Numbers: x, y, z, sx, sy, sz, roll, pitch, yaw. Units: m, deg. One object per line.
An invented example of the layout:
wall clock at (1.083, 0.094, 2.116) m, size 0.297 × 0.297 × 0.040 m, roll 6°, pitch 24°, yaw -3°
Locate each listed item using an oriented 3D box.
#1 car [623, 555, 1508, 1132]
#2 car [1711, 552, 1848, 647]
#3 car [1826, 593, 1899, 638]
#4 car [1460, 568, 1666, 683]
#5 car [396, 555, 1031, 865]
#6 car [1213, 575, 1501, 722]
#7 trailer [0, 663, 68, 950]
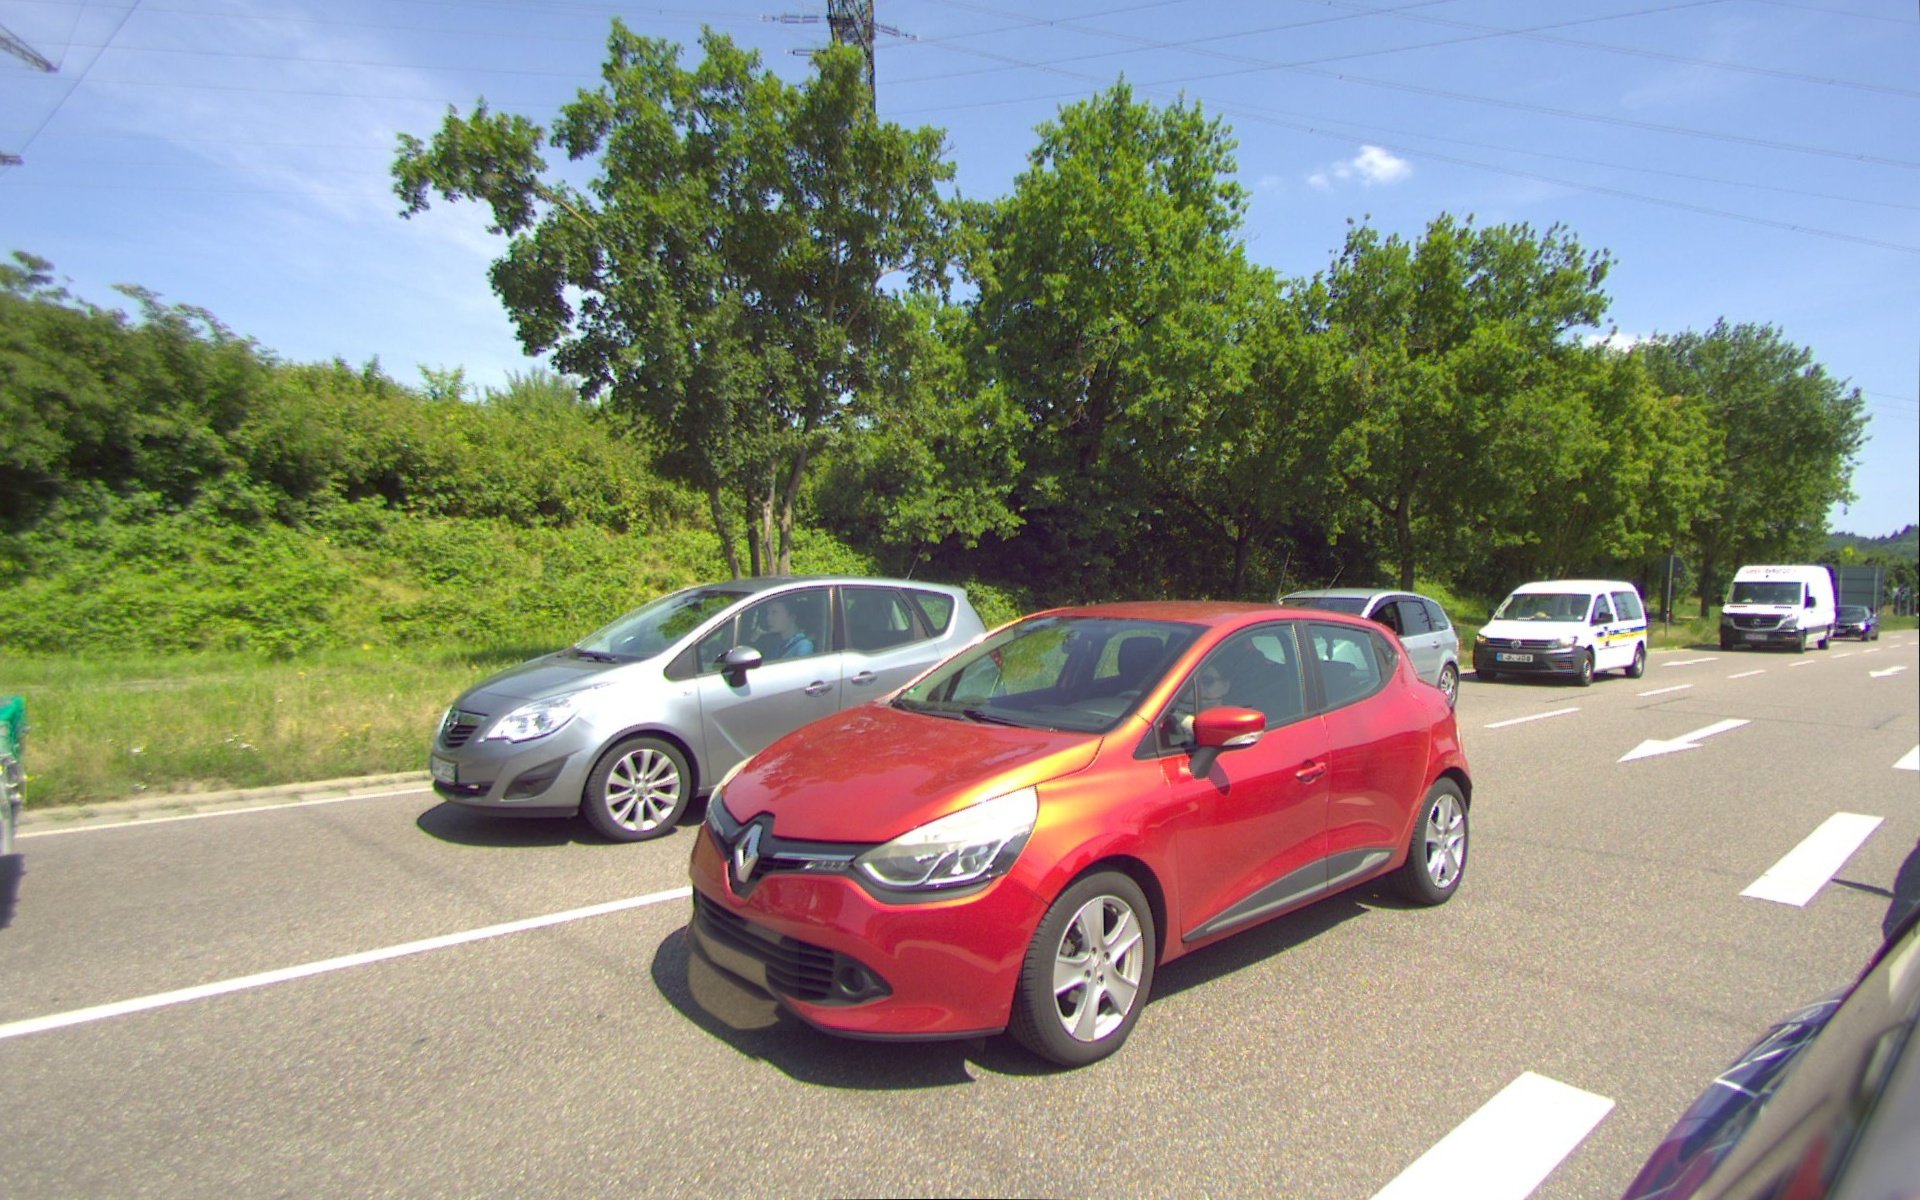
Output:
car at (0.763, 0.620, 4.583) m, size 3.994 × 1.480 × 1.746 m, roll 0°, pitch 0°, yaw -41°
car at (25.450, -0.029, 31.306) m, size 6.897 × 2.640 × 2.230 m, roll 0°, pitch 0°, yaw -42°
car at (36.729, 0.573, 41.159) m, size 3.933 × 1.705 × 1.875 m, roll -1°, pitch 1°, yaw -43°
car at (11.049, 0.398, 18.385) m, size 4.950 × 1.823 × 1.807 m, roll 0°, pitch 0°, yaw -42°
car at (-1.571, 0.555, 7.290) m, size 4.092 × 1.615 × 1.768 m, roll 0°, pitch 1°, yaw -41°
car at (5.239, 0.525, 13.107) m, size 4.197 × 1.614 × 1.746 m, roll 0°, pitch 0°, yaw -41°
trailer at (-5.406, 0.850, 3.635) m, size 3.266 × 1.019 × 1.709 m, roll 0°, pitch 0°, yaw -41°
